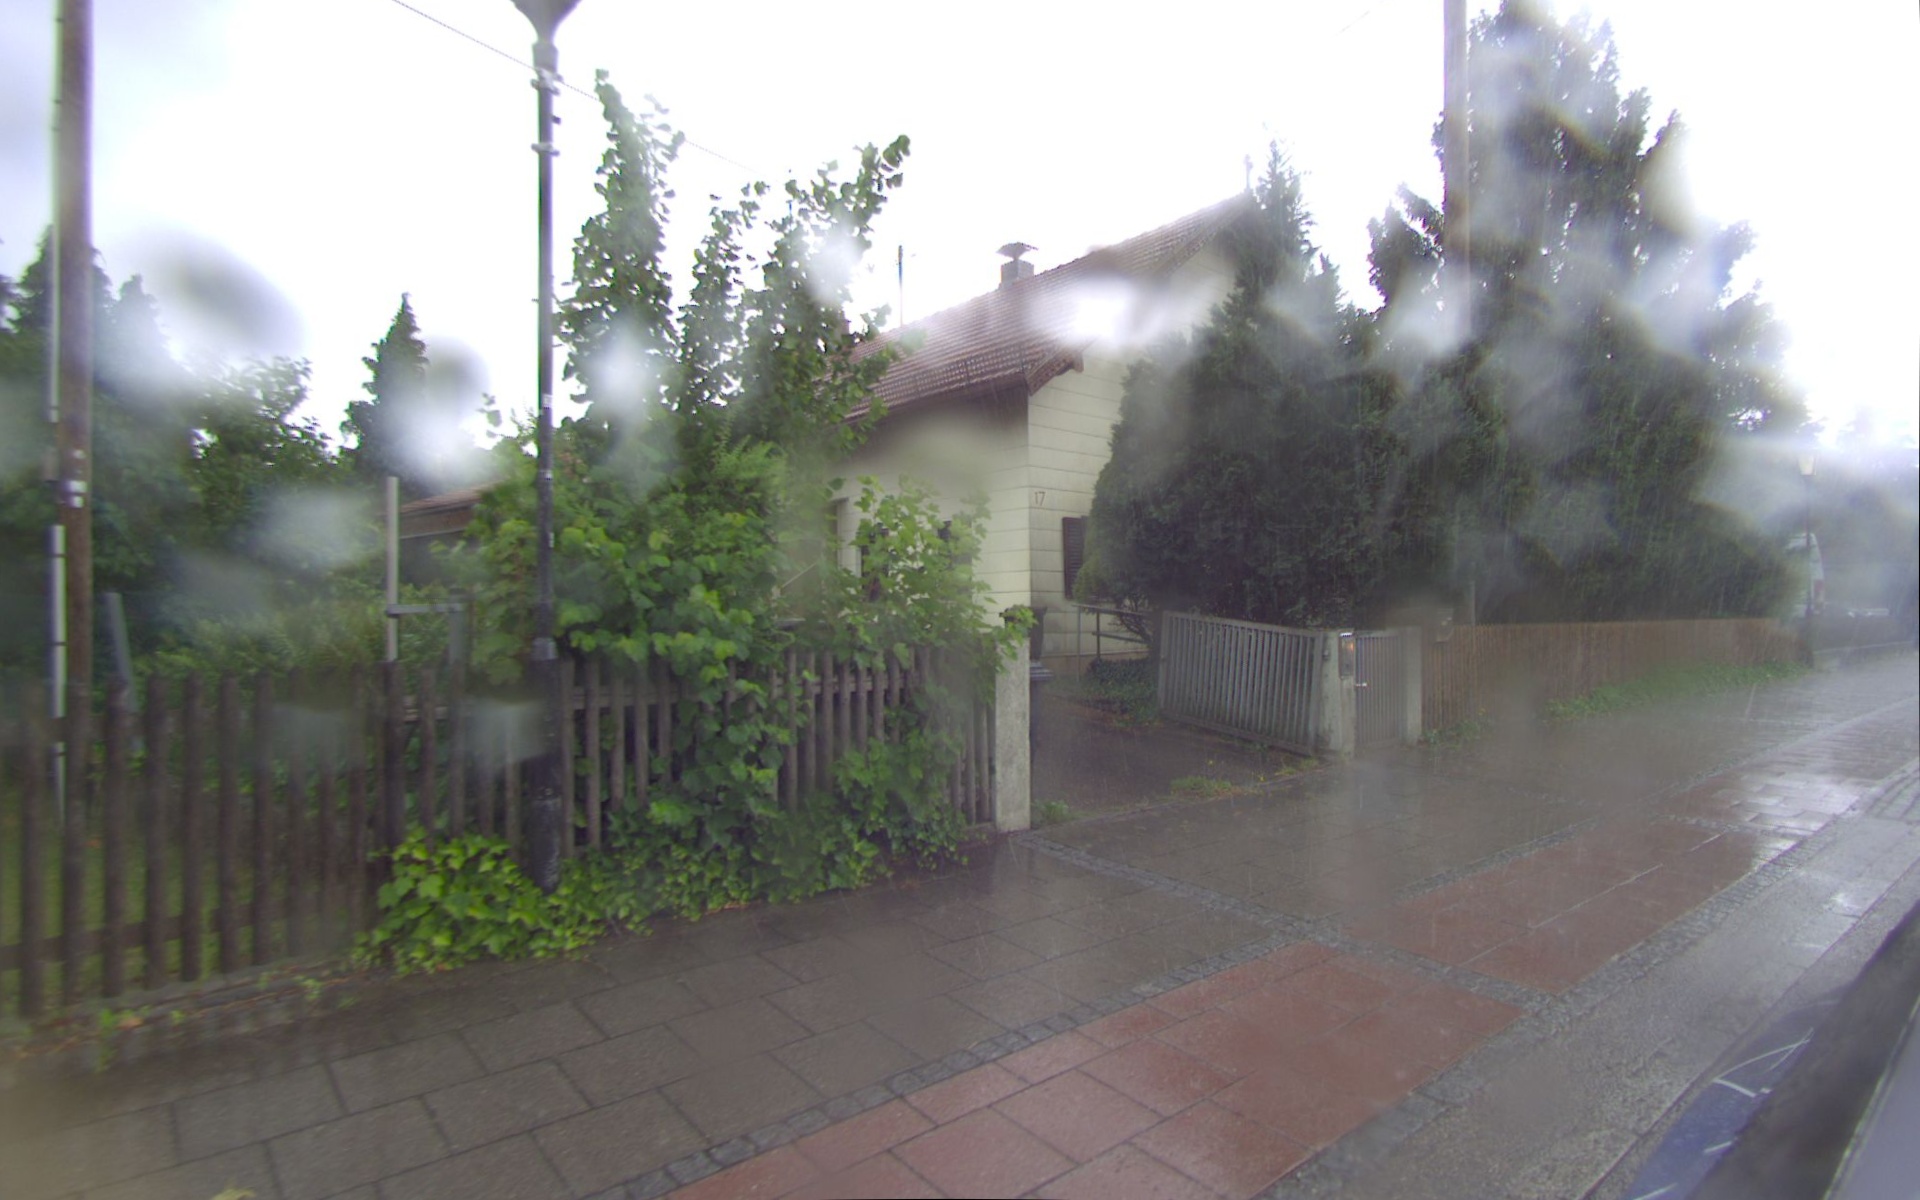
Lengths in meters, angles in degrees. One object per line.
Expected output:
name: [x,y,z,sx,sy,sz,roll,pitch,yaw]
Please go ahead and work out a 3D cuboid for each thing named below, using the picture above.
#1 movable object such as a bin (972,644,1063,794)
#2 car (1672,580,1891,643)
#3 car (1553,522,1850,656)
movable object such as a bin: [0.398,0.803,7.007,0.438,0.947,0.434,0,2,-38]
car: [22.093,0.252,27.345,4.431,1.438,1.801,3,3,44]
car: [16.920,-0.337,23.308,5.302,2.761,1.970,3,2,43]
